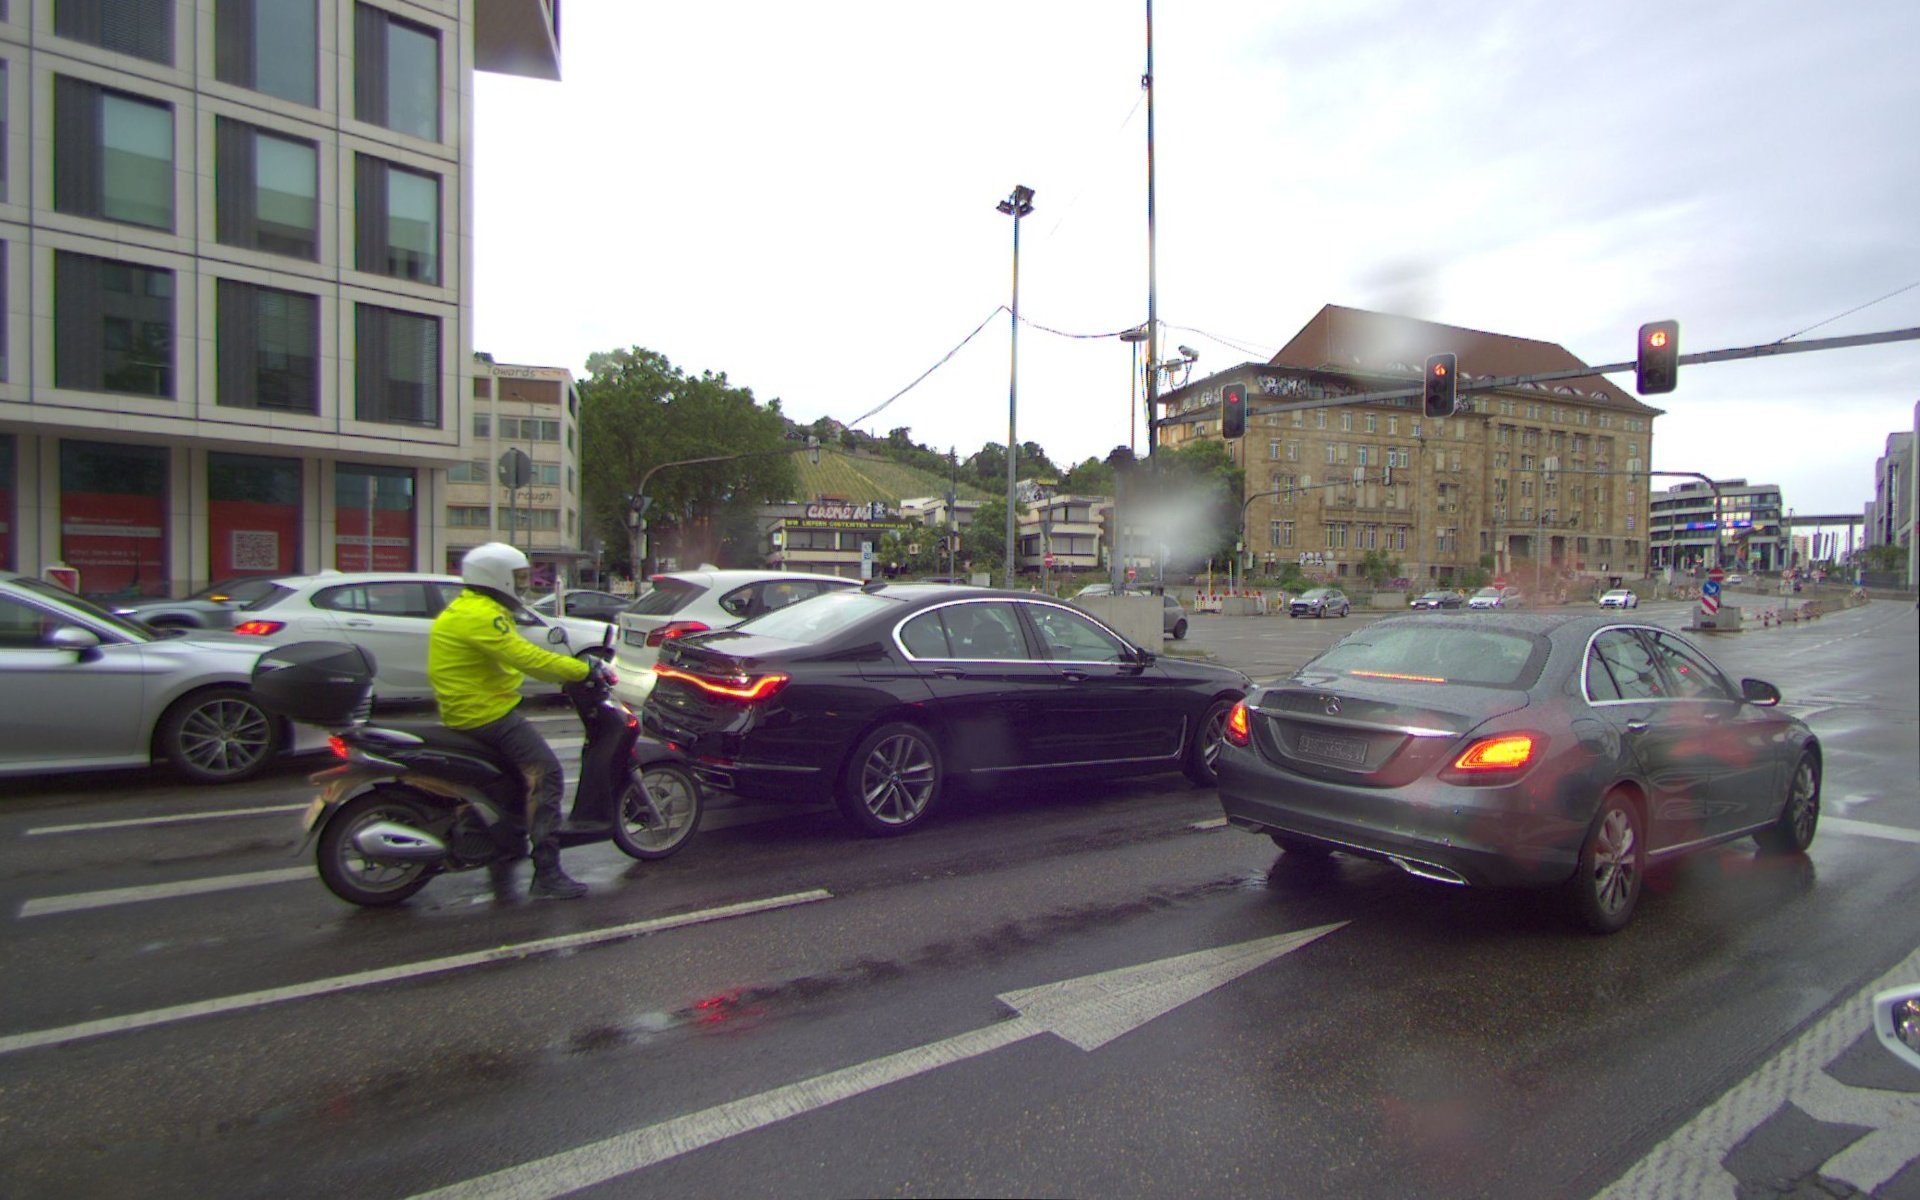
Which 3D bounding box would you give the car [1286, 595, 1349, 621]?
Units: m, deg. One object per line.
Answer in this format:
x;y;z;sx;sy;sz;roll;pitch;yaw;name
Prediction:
19.310;0.444;54.175;3.974;1.277;1.607;2;1;-45;car

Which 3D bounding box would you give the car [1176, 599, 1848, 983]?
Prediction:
3.455;0.743;5.936;4.443;1.421;1.770;0;2;-37;car

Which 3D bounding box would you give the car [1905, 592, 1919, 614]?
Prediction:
78.160;0.287;81.205;1.967;1.662;3.987;3;1;35;car

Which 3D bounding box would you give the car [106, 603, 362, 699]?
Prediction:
-12.882;0.855;17.922;3.529;1.539;1.682;1;-1;-43;car

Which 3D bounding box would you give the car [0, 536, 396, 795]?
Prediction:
-6.498;0.350;6.506;4.756;1.541;1.818;2;1;-37;car

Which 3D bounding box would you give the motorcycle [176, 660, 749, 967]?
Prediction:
-2.260;0.848;4.788;2.277;1.002;0.933;1;1;-42;motorcycle

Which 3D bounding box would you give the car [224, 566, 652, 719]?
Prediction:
-5.704;0.428;11.206;3.959;1.391;1.769;2;1;-39;car

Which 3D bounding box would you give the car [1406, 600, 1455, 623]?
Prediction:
29.804;0.741;63.643;3.308;1.277;1.720;2;1;-45;car

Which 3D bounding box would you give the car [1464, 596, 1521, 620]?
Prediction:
32.421;0.485;61.125;4.164;1.277;1.751;2;1;-43;car

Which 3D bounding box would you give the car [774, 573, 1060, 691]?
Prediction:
-0.646;0.492;15.557;4.020;1.621;1.776;2;1;-27;car

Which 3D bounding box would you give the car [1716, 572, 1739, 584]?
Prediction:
138.875;-3.978;181.782;1.960;1.840;4.001;3;1;17;car

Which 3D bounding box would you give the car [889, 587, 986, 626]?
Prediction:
-1.108;0.297;48.805;4.318;1.684;1.995;3;1;32;car

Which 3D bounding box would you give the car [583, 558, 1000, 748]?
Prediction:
-1.651;0.485;10.568;3.966;1.637;1.718;2;1;-39;car

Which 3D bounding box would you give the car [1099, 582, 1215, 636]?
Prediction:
6.337;0.310;32.120;3.974;1.595;1.680;2;1;-45;car

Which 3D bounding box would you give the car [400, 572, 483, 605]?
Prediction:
-29.564;-0.652;57.267;4.369;1.671;1.997;3;1;27;car

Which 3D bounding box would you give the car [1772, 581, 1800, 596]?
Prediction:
123.093;-1.675;149.782;1.961;2.040;3.999;3;1;21;car

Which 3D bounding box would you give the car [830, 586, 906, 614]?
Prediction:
-5.137;-0.005;56.053;3.926;1.339;1.652;3;1;27;car

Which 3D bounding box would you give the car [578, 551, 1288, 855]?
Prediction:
0.049;0.568;7.308;4.955;1.535;1.873;2;1;-36;car

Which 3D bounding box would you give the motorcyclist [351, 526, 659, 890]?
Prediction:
-2.187;0.442;4.828;1.092;1.495;0.933;2;1;-41;motorcyclist

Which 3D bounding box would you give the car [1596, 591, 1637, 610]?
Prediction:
51.004;0.021;78.032;3.971;1.277;1.751;2;1;-43;car
